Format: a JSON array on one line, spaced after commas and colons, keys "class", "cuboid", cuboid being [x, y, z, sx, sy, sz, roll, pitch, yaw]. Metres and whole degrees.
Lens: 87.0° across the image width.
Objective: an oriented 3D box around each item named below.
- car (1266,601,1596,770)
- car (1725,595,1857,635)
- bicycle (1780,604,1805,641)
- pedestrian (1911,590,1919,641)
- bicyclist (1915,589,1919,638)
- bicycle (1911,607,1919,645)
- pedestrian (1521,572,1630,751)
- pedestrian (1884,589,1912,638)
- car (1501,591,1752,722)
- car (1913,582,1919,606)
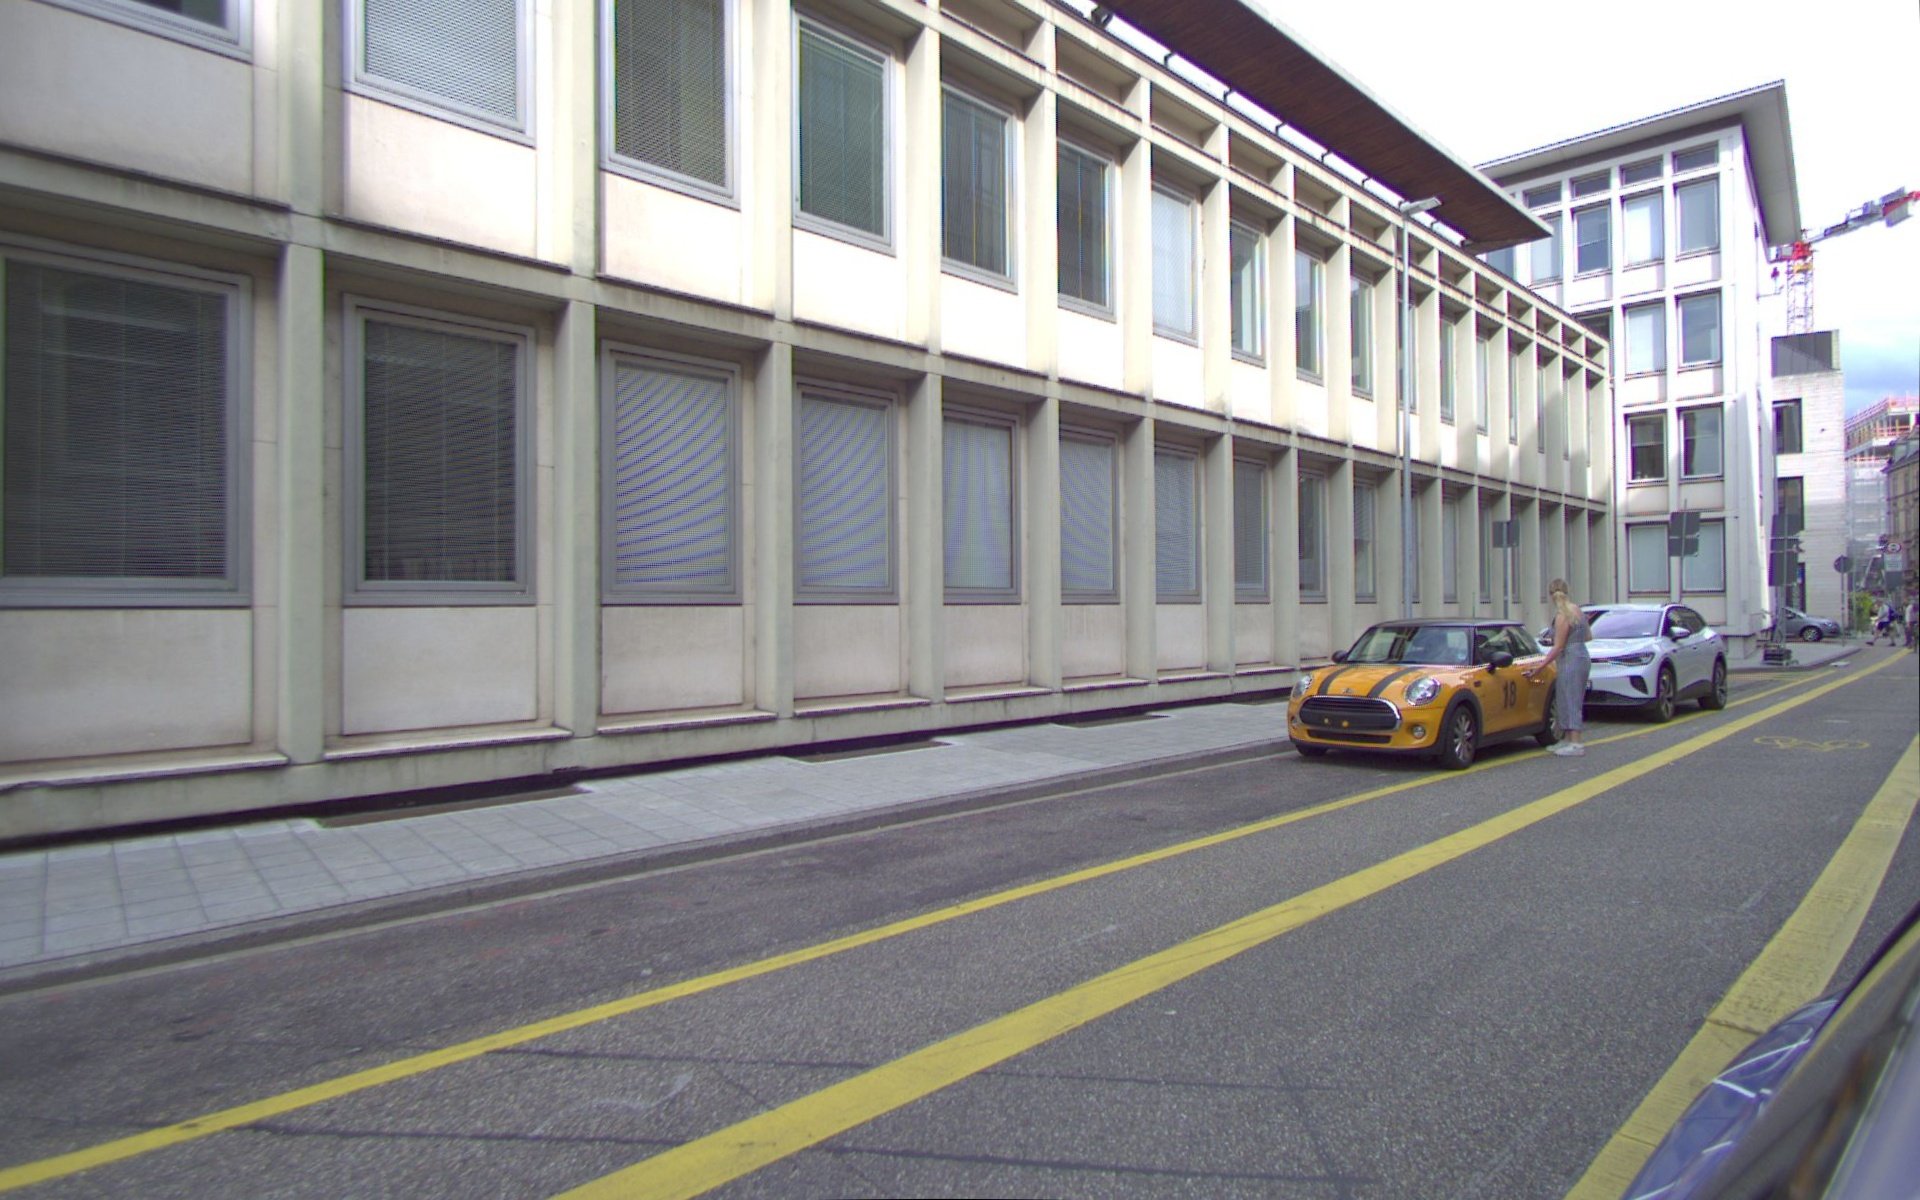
[{"class": "car", "cuboid": [5.131, 0.788, 10.837, 3.817, 1.453, 1.683, -1, -2, -40]}, {"class": "car", "cuboid": [35.213, 0.608, 42.955, 4.183, 1.610, 1.786, 0, 0, 45]}, {"class": "bicycle", "cuboid": [27.628, 0.726, 33.583, 0.588, 1.182, 1.787, -1, 0, 41]}, {"class": "pedestrian", "cuboid": [35.126, 0.538, 36.671, 0.740, 1.838, 0.747, -5, -3, 35]}, {"class": "bicyclist", "cuboid": [31.704, 0.431, 32.851, 0.887, 1.614, 0.866, -1, 0, 36]}, {"class": "bicycle", "cuboid": [31.628, 0.864, 32.737, 0.865, 1.209, 2.828, -1, 0, 35]}, {"class": "pedestrian", "cuboid": [6.405, 0.609, 10.544, 0.691, 1.786, 0.701, 0, 0, -29]}, {"class": "pedestrian", "cuboid": [34.779, 0.493, 37.536, 0.639, 1.787, 0.646, -1, -1, 35]}, {"class": "car", "cuboid": [9.939, 0.751, 14.961, 4.433, 1.626, 1.863, -1, -3, -41]}, {"class": "car", "cuboid": [62.096, -0.406, 64.511, 1.581, 1.505, 3.946, 0, 0, 37]}]
